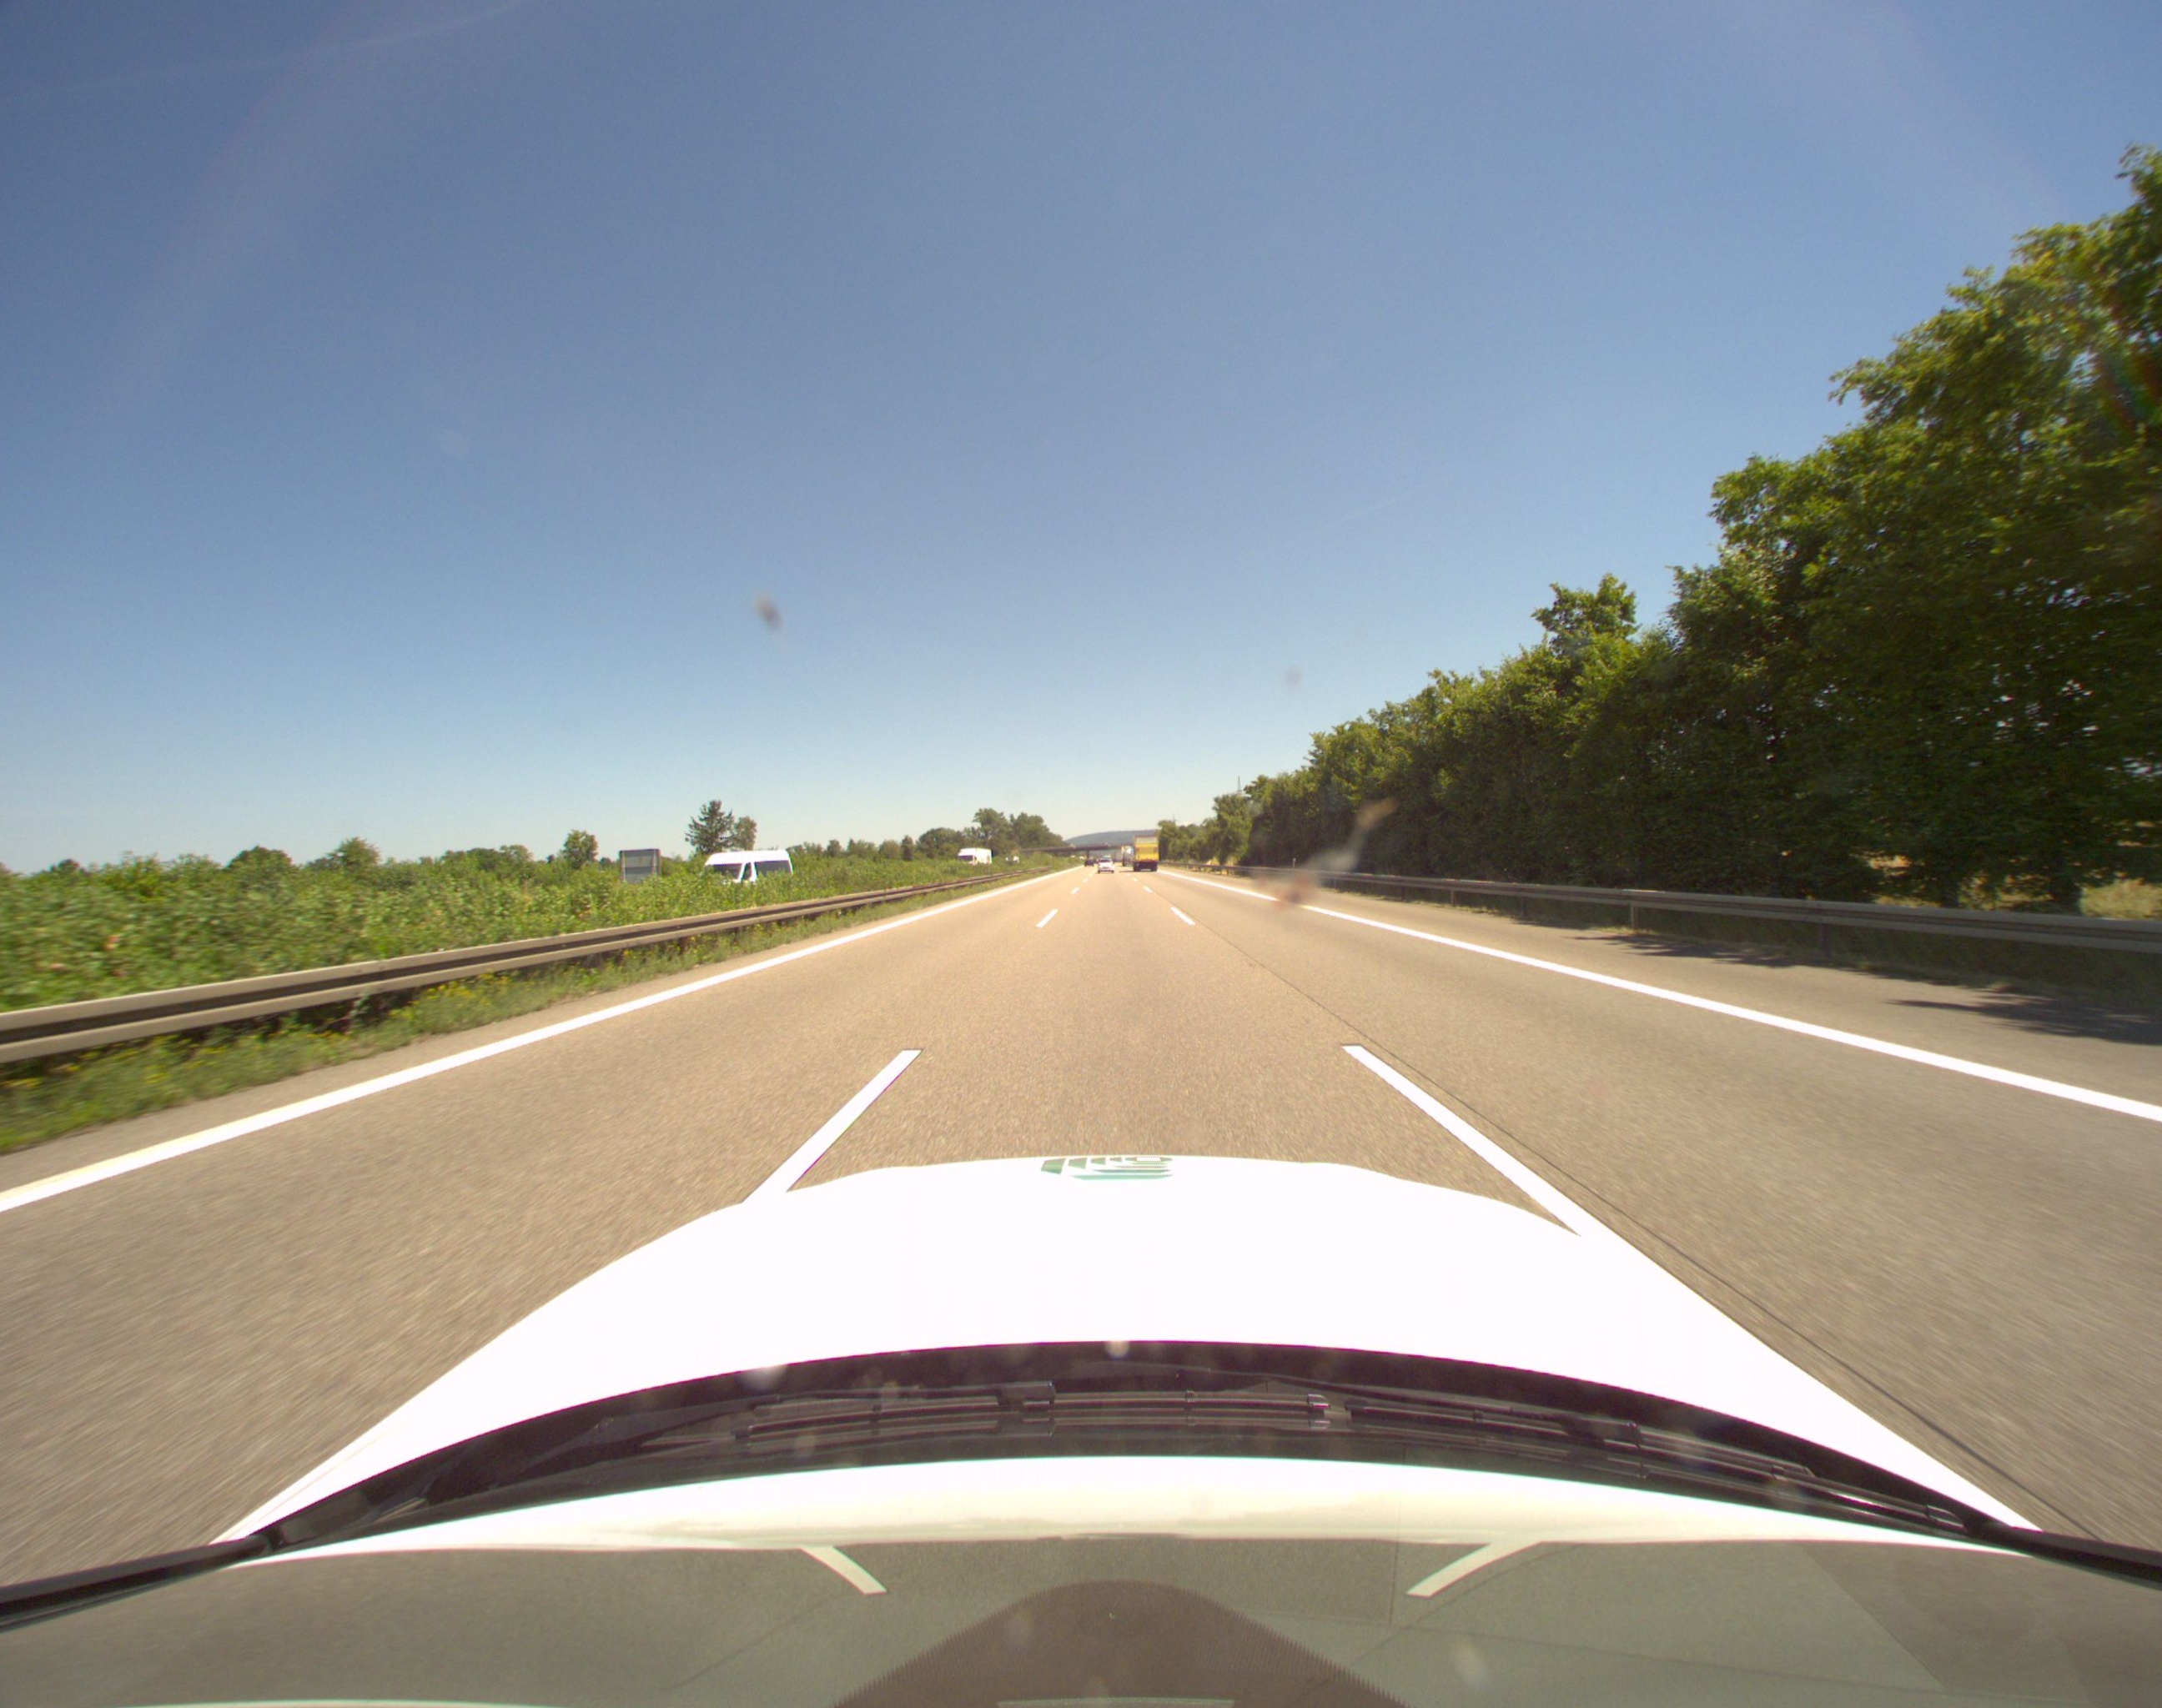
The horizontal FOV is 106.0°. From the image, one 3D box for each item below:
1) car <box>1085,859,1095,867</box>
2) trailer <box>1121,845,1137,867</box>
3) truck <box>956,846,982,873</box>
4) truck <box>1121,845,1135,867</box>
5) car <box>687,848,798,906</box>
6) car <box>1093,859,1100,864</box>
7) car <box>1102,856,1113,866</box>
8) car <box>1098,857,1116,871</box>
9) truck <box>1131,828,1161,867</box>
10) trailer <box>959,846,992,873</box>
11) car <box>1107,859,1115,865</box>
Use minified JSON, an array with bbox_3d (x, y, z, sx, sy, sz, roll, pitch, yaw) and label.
[{"bbox_3d":[1.736,1.754,158.434,1.828,1.386,4.002,0,0,2],"label":"car"},{"bbox_3d":[8.953,0.380,152.971,2.570,4.074,11.106,0,0,1],"label":"trailer"},{"bbox_3d":[-16.563,0.799,120.413,2.923,3.870,5.753,0,0,1],"label":"truck"},{"bbox_3d":[9.079,0.406,157.560,2.563,4.072,6.394,0,0,1],"label":"truck"},{"bbox_3d":[-15.017,0.959,36.693,2.072,2.394,6.734,0,0,1],"label":"car"},{"bbox_3d":[4.303,2.212,229.630,1.828,1.386,4.002,0,0,2],"label":"car"},{"bbox_3d":[4.709,1.267,143.610,1.845,1.633,4.002,0,0,2],"label":"car"},{"bbox_3d":[2.676,1.040,84.661,1.799,1.468,4.002,0,0,2],"label":"car"},{"bbox_3d":[7.263,-0.656,92.254,2.922,4.200,10.685,0,0,2],"label":"truck"},{"bbox_3d":[-16.373,0.843,127.044,2.922,3.870,13.914,0,0,2],"label":"trailer"},{"bbox_3d":[7.302,2.027,197.377,1.828,1.386,4.002,0,0,2],"label":"car"}]
